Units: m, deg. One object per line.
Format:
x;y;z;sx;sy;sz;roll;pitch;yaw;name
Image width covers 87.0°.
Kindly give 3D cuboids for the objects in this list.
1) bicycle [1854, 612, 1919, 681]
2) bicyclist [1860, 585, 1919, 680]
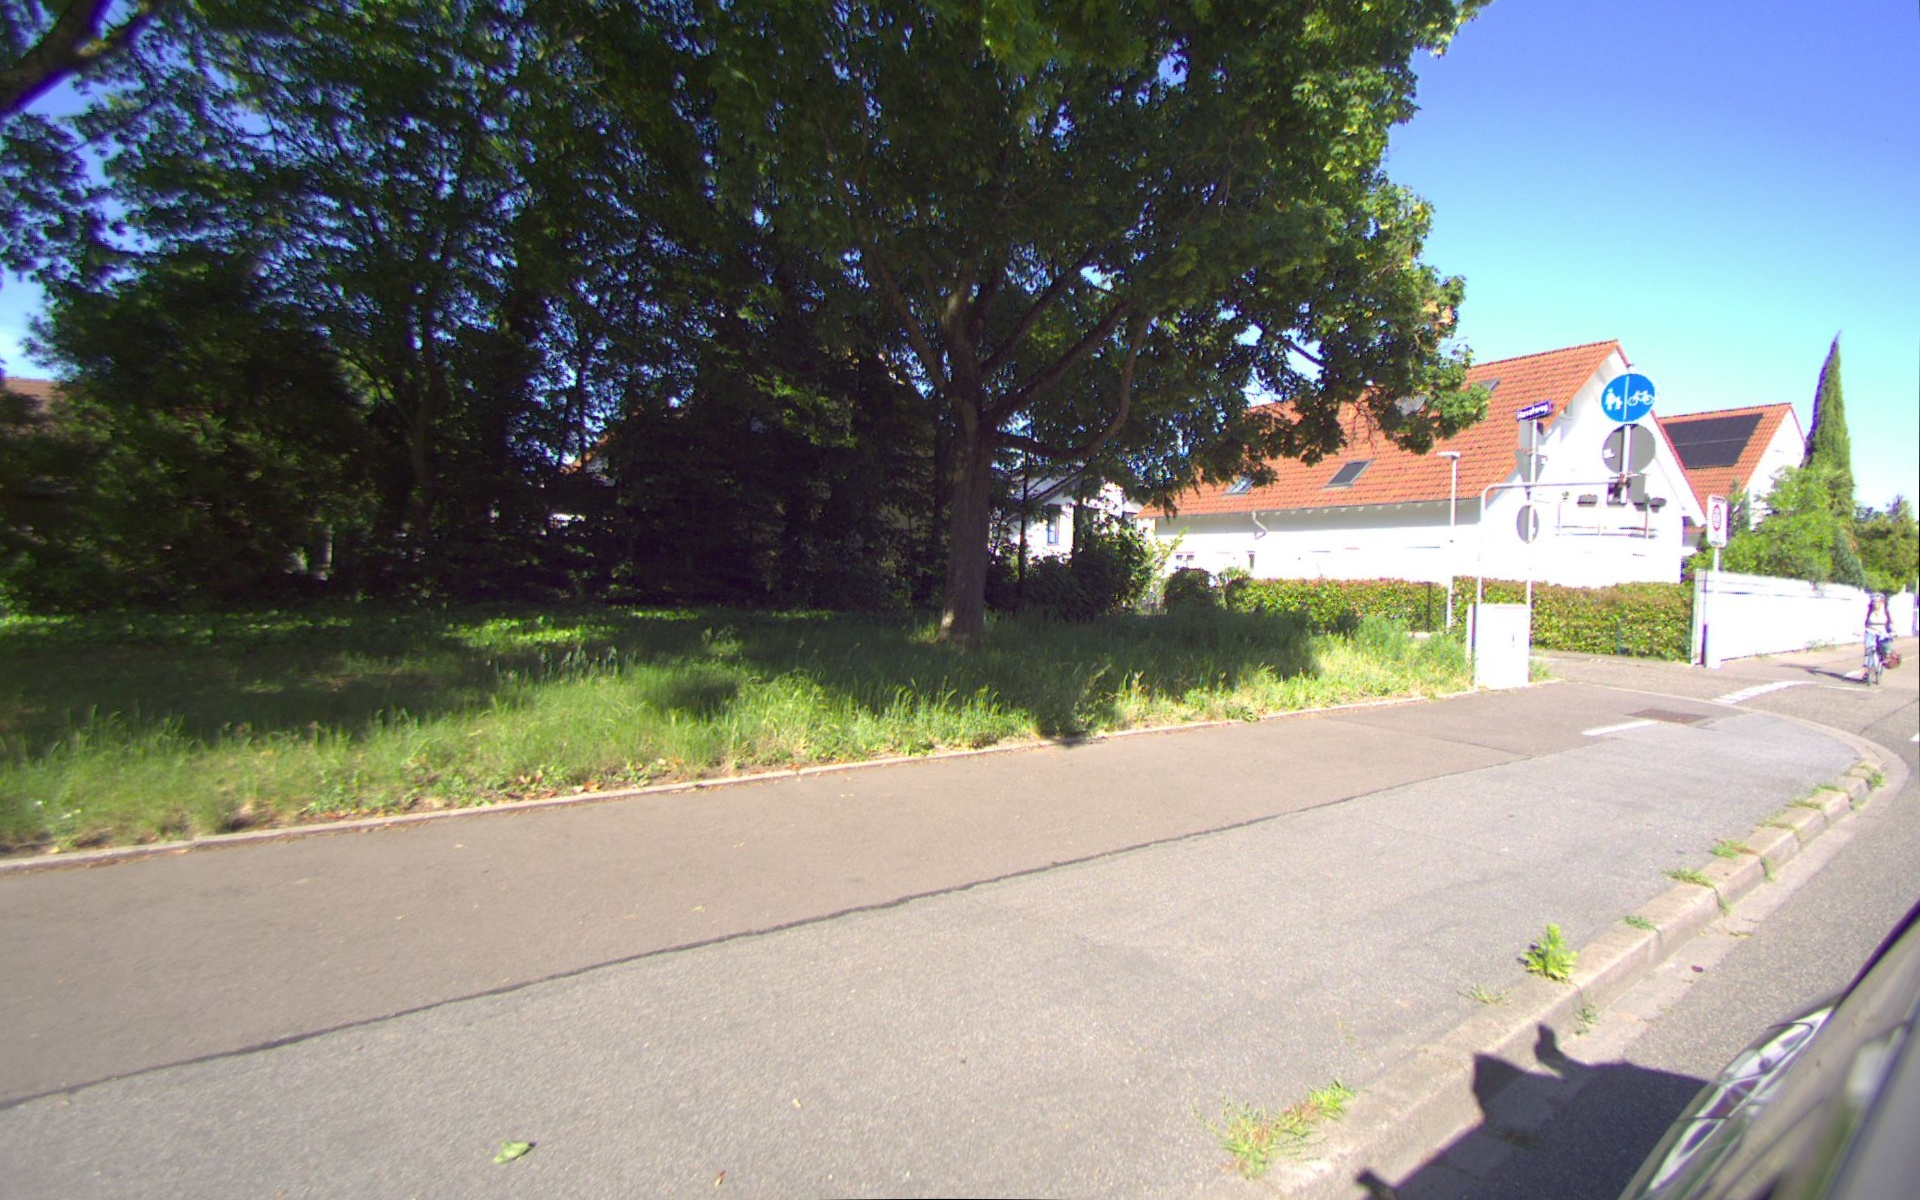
17.083;0.832;18.576;2.101;1.169;0.576;1;4;-39;bicycle
17.146;0.586;18.601;0.964;1.652;0.632;1;4;-38;bicyclist
